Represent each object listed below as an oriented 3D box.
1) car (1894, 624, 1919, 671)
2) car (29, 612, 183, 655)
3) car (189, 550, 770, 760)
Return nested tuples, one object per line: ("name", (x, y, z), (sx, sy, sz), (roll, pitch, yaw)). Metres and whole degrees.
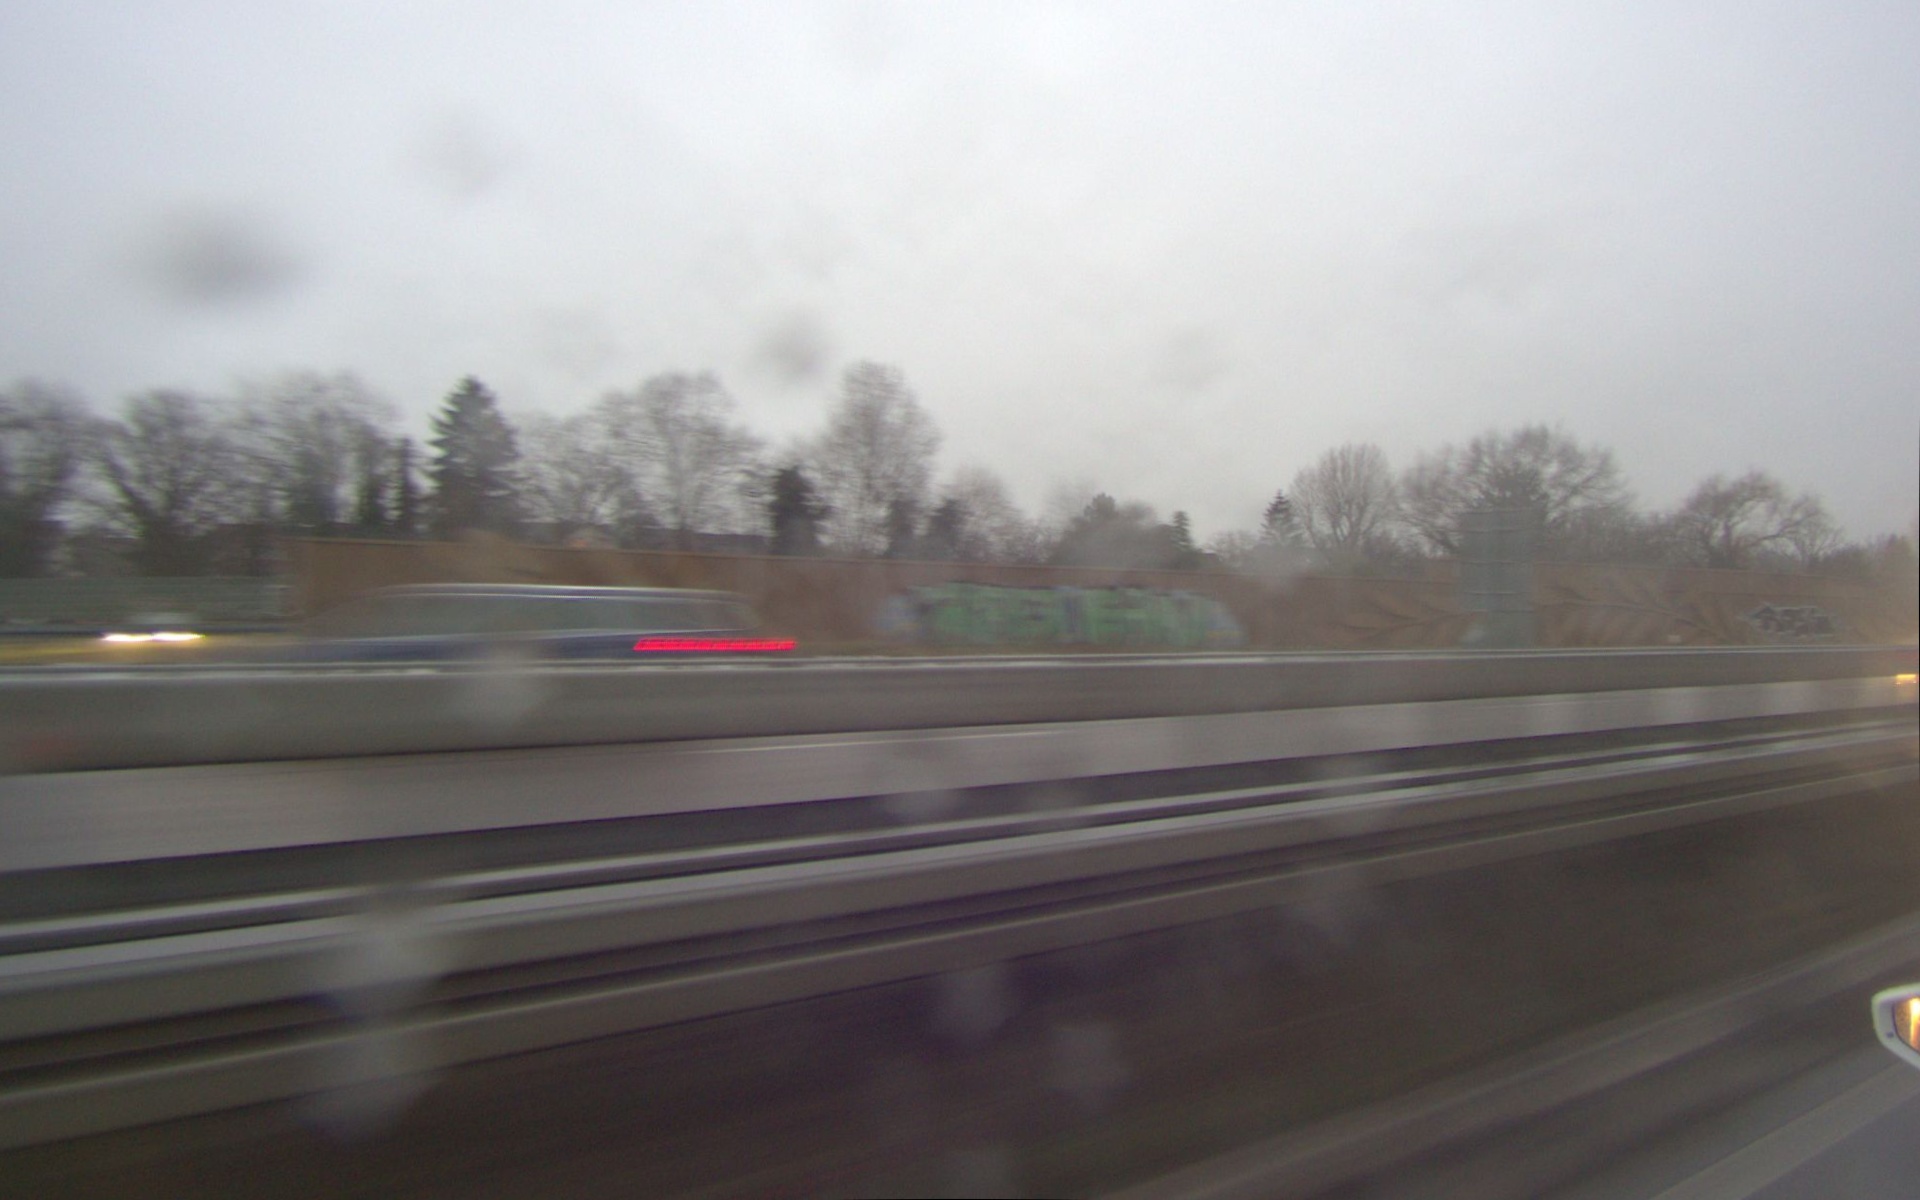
("car", (31.990, 1.565, 32.516), (3.641, 1.460, 1.688), (2, 0, -32))
("car", (-26.165, 0.986, 30.967), (1.770, 1.177, 3.994), (1, 0, -9))
("car", (-4.456, 0.483, 9.901), (4.723, 1.649, 1.857), (2, 0, -30))
